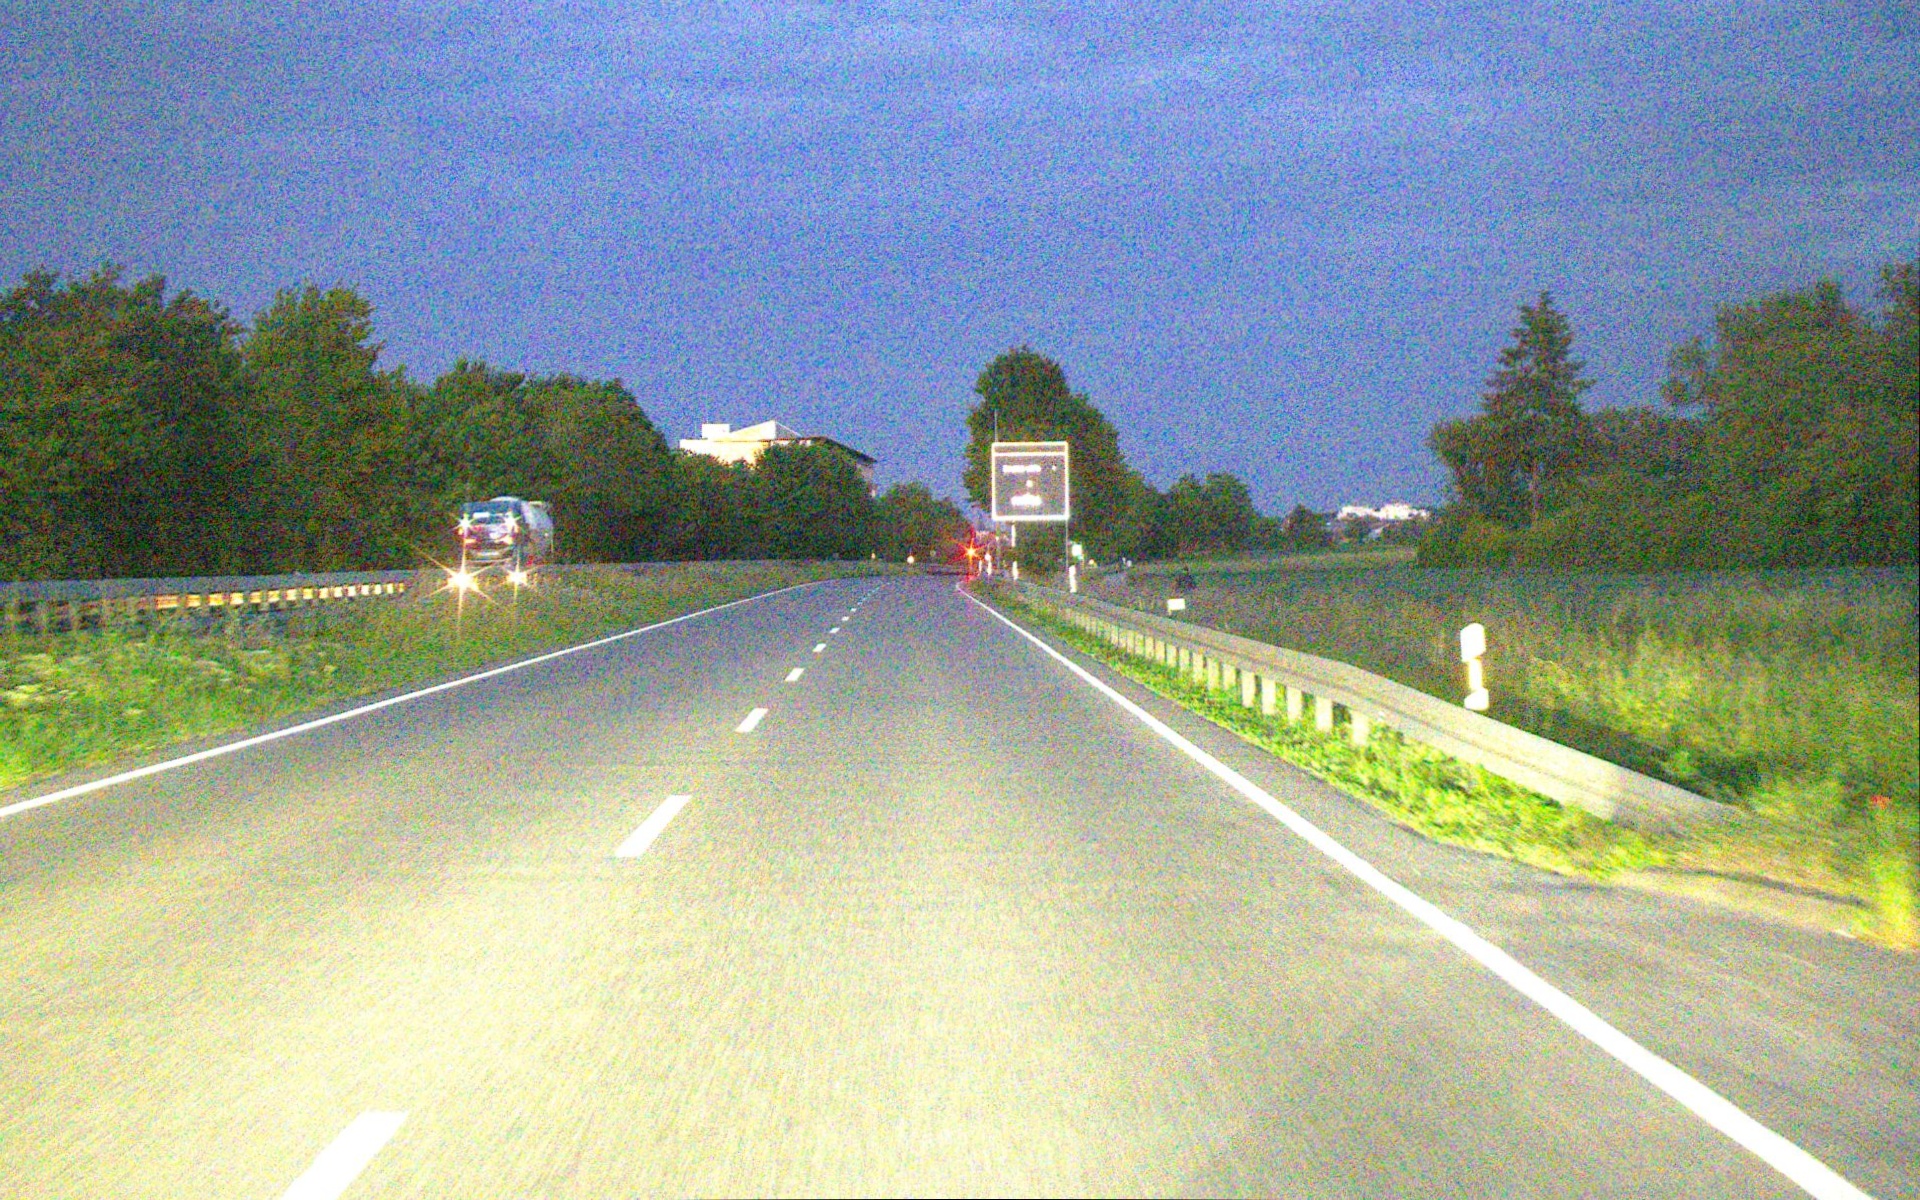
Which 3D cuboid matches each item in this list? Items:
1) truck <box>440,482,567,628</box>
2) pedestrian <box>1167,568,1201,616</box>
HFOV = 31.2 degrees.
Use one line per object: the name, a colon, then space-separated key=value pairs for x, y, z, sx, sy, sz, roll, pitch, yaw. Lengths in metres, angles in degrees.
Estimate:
truck: x=-17.625 y=-1.822 z=133.613 sx=3.202 sy=5.237 sz=12.611 roll=-4 pitch=1 yaw=-1
pedestrian: x=7.719 y=-0.275 z=118.693 sx=1.062 sy=1.637 sz=1.118 roll=1 pitch=0 yaw=0
